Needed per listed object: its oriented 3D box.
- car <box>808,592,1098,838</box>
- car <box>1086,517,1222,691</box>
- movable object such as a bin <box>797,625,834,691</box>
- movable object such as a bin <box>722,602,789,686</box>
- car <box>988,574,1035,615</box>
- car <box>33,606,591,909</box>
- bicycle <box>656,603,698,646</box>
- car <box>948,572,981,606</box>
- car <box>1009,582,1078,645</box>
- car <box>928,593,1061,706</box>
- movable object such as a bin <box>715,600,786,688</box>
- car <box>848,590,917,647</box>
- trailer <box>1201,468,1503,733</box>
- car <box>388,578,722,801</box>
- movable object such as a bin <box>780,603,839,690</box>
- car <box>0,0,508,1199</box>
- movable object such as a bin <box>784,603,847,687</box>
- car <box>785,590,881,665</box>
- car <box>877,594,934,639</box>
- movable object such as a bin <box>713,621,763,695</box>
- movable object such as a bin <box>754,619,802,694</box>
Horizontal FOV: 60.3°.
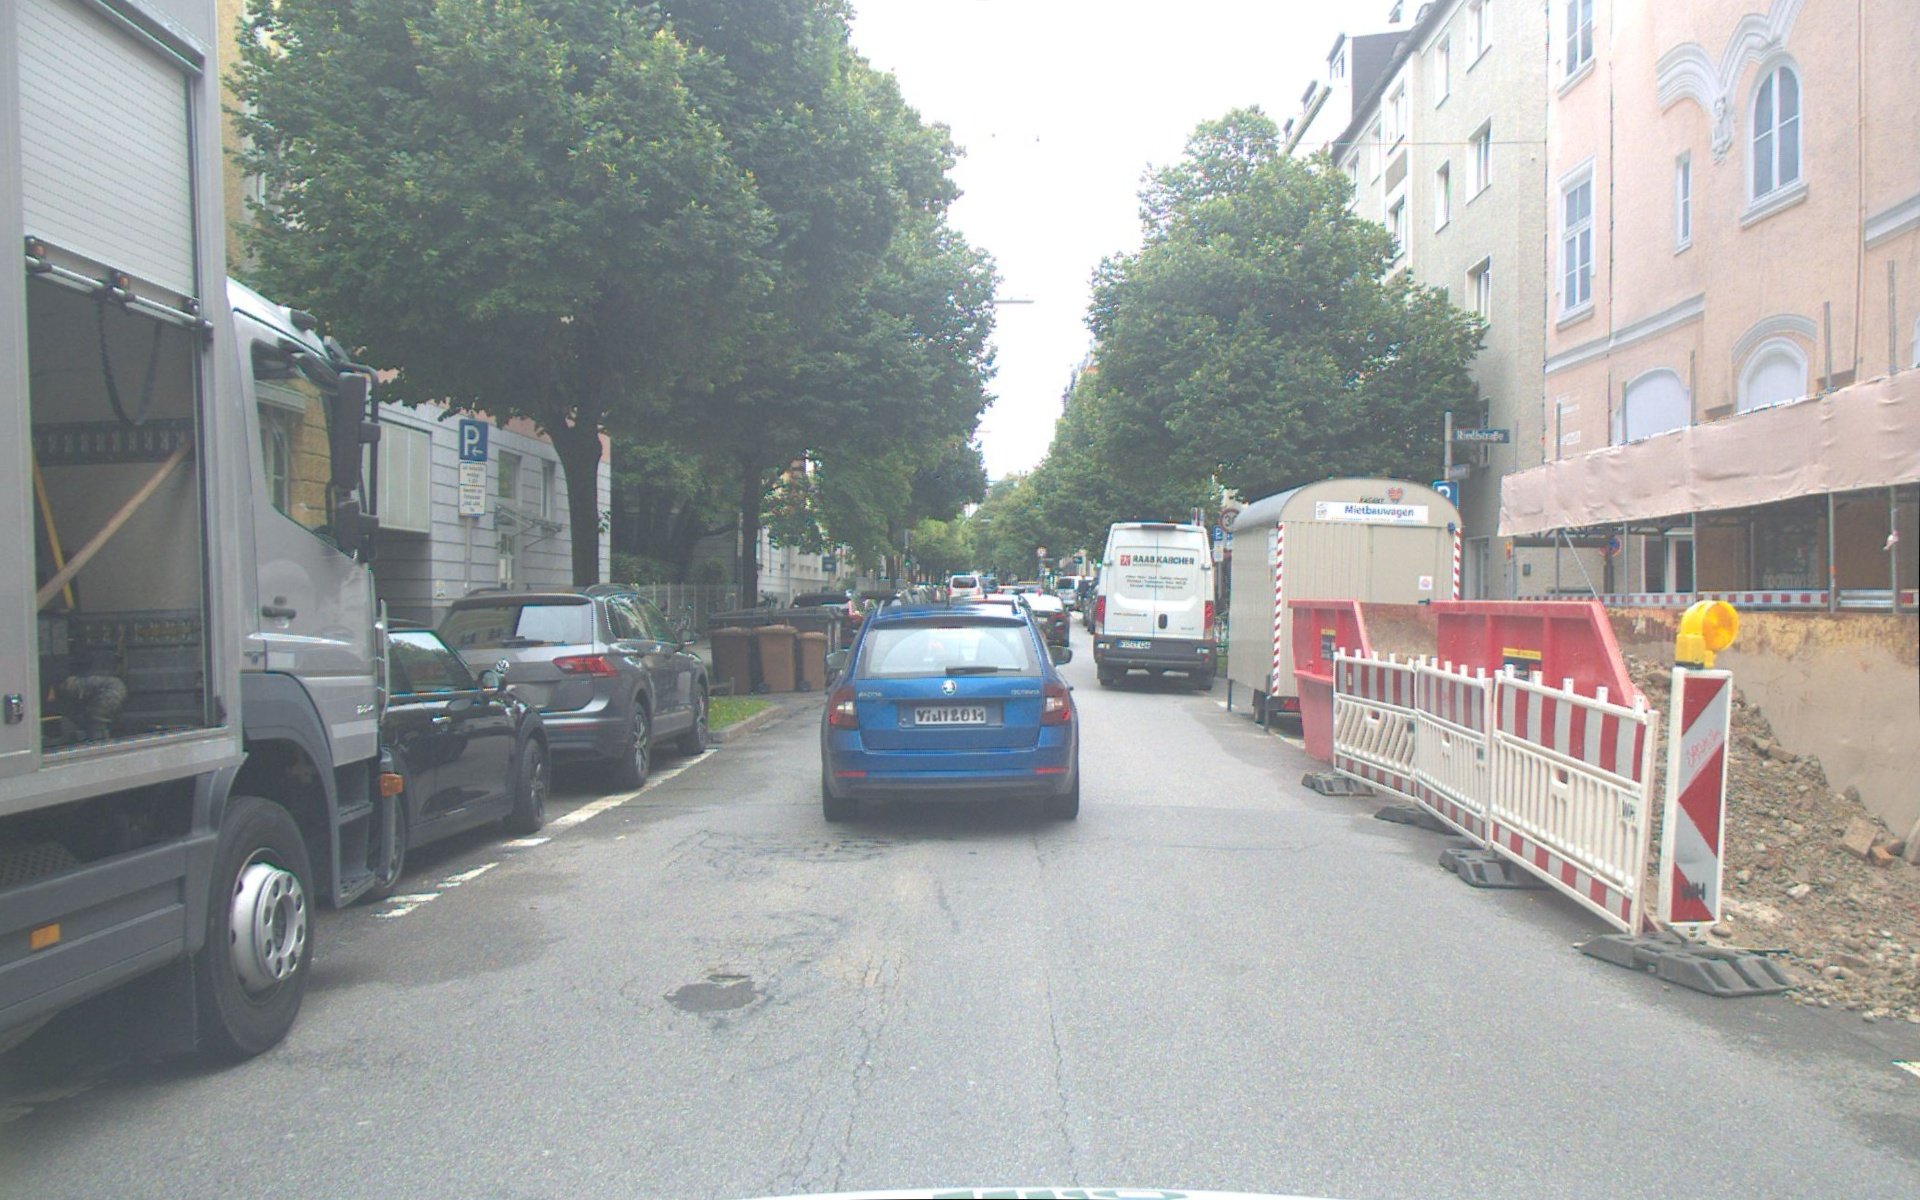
[{"bbox_3d":[0.033,0.697,12.165,1.752,1.486,4.315,0,0,2],"label":"car"},{"bbox_3d":[3.411,0.076,28.958,2.068,2.710,5.504,1,0,7],"label":"car"},{"bbox_3d":[-2.348,0.940,26.999,0.535,1.038,0.636,-2,0,-2],"label":"movable object such as a bin"},{"bbox_3d":[-3.554,0.751,28.890,1.036,1.400,1.095,-2,0,-3],"label":"movable object such as a bin"},{"bbox_3d":[2.259,-0.282,73.575,1.829,1.726,4.347,1,1,-1],"label":"car"},{"bbox_3d":[-3.513,0.761,9.747,1.663,1.434,3.710,0,0,3],"label":"car"},{"bbox_3d":[-7.535,0.643,44.132,0.621,1.086,2.388,-1,0,2],"label":"bicycle"},{"bbox_3d":[0.254,-0.653,95.243,1.829,1.902,4.347,1,1,0],"label":"car"},{"bbox_3d":[2.405,0.352,48.400,1.829,1.726,4.348,1,1,1],"label":"car"},{"bbox_3d":[0.478,0.646,23.129,1.705,1.446,3.664,0,0,1],"label":"car"},{"bbox_3d":[-3.509,0.729,27.789,1.060,1.400,1.083,-2,0,-3],"label":"movable object such as a bin"},{"bbox_3d":[-2.137,0.485,46.409,1.775,1.504,4.000,1,0,-1],"label":"car"},{"bbox_3d":[4.857,0.026,21.838,2.450,2.889,6.902,1,0,1],"label":"trailer"},{"bbox_3d":[-3.357,0.666,14.555,1.748,1.657,4.186,-1,0,2],"label":"car"},{"bbox_3d":[-2.531,0.764,27.857,0.899,1.400,1.079,-2,0,-3],"label":"movable object such as a bin"},{"bbox_3d":[-3.439,-0.467,2.888,2.754,3.884,8.724,0,0,1],"label":"car"},{"bbox_3d":[-2.518,0.776,28.955,1.000,1.400,1.103,-2,0,-3],"label":"movable object such as a bin"},{"bbox_3d":[-2.688,0.541,35.682,1.775,1.504,4.000,1,0,-1],"label":"car"},{"bbox_3d":[-1.900,0.554,58.450,1.775,1.504,4.001,1,0,1],"label":"car"},{"bbox_3d":[-3.609,0.940,26.903,0.706,1.158,0.658,-2,0,-2],"label":"movable object such as a bin"},{"bbox_3d":[-2.955,0.918,26.948,0.697,1.168,0.636,-2,0,-2],"label":"movable object such as a bin"}]
